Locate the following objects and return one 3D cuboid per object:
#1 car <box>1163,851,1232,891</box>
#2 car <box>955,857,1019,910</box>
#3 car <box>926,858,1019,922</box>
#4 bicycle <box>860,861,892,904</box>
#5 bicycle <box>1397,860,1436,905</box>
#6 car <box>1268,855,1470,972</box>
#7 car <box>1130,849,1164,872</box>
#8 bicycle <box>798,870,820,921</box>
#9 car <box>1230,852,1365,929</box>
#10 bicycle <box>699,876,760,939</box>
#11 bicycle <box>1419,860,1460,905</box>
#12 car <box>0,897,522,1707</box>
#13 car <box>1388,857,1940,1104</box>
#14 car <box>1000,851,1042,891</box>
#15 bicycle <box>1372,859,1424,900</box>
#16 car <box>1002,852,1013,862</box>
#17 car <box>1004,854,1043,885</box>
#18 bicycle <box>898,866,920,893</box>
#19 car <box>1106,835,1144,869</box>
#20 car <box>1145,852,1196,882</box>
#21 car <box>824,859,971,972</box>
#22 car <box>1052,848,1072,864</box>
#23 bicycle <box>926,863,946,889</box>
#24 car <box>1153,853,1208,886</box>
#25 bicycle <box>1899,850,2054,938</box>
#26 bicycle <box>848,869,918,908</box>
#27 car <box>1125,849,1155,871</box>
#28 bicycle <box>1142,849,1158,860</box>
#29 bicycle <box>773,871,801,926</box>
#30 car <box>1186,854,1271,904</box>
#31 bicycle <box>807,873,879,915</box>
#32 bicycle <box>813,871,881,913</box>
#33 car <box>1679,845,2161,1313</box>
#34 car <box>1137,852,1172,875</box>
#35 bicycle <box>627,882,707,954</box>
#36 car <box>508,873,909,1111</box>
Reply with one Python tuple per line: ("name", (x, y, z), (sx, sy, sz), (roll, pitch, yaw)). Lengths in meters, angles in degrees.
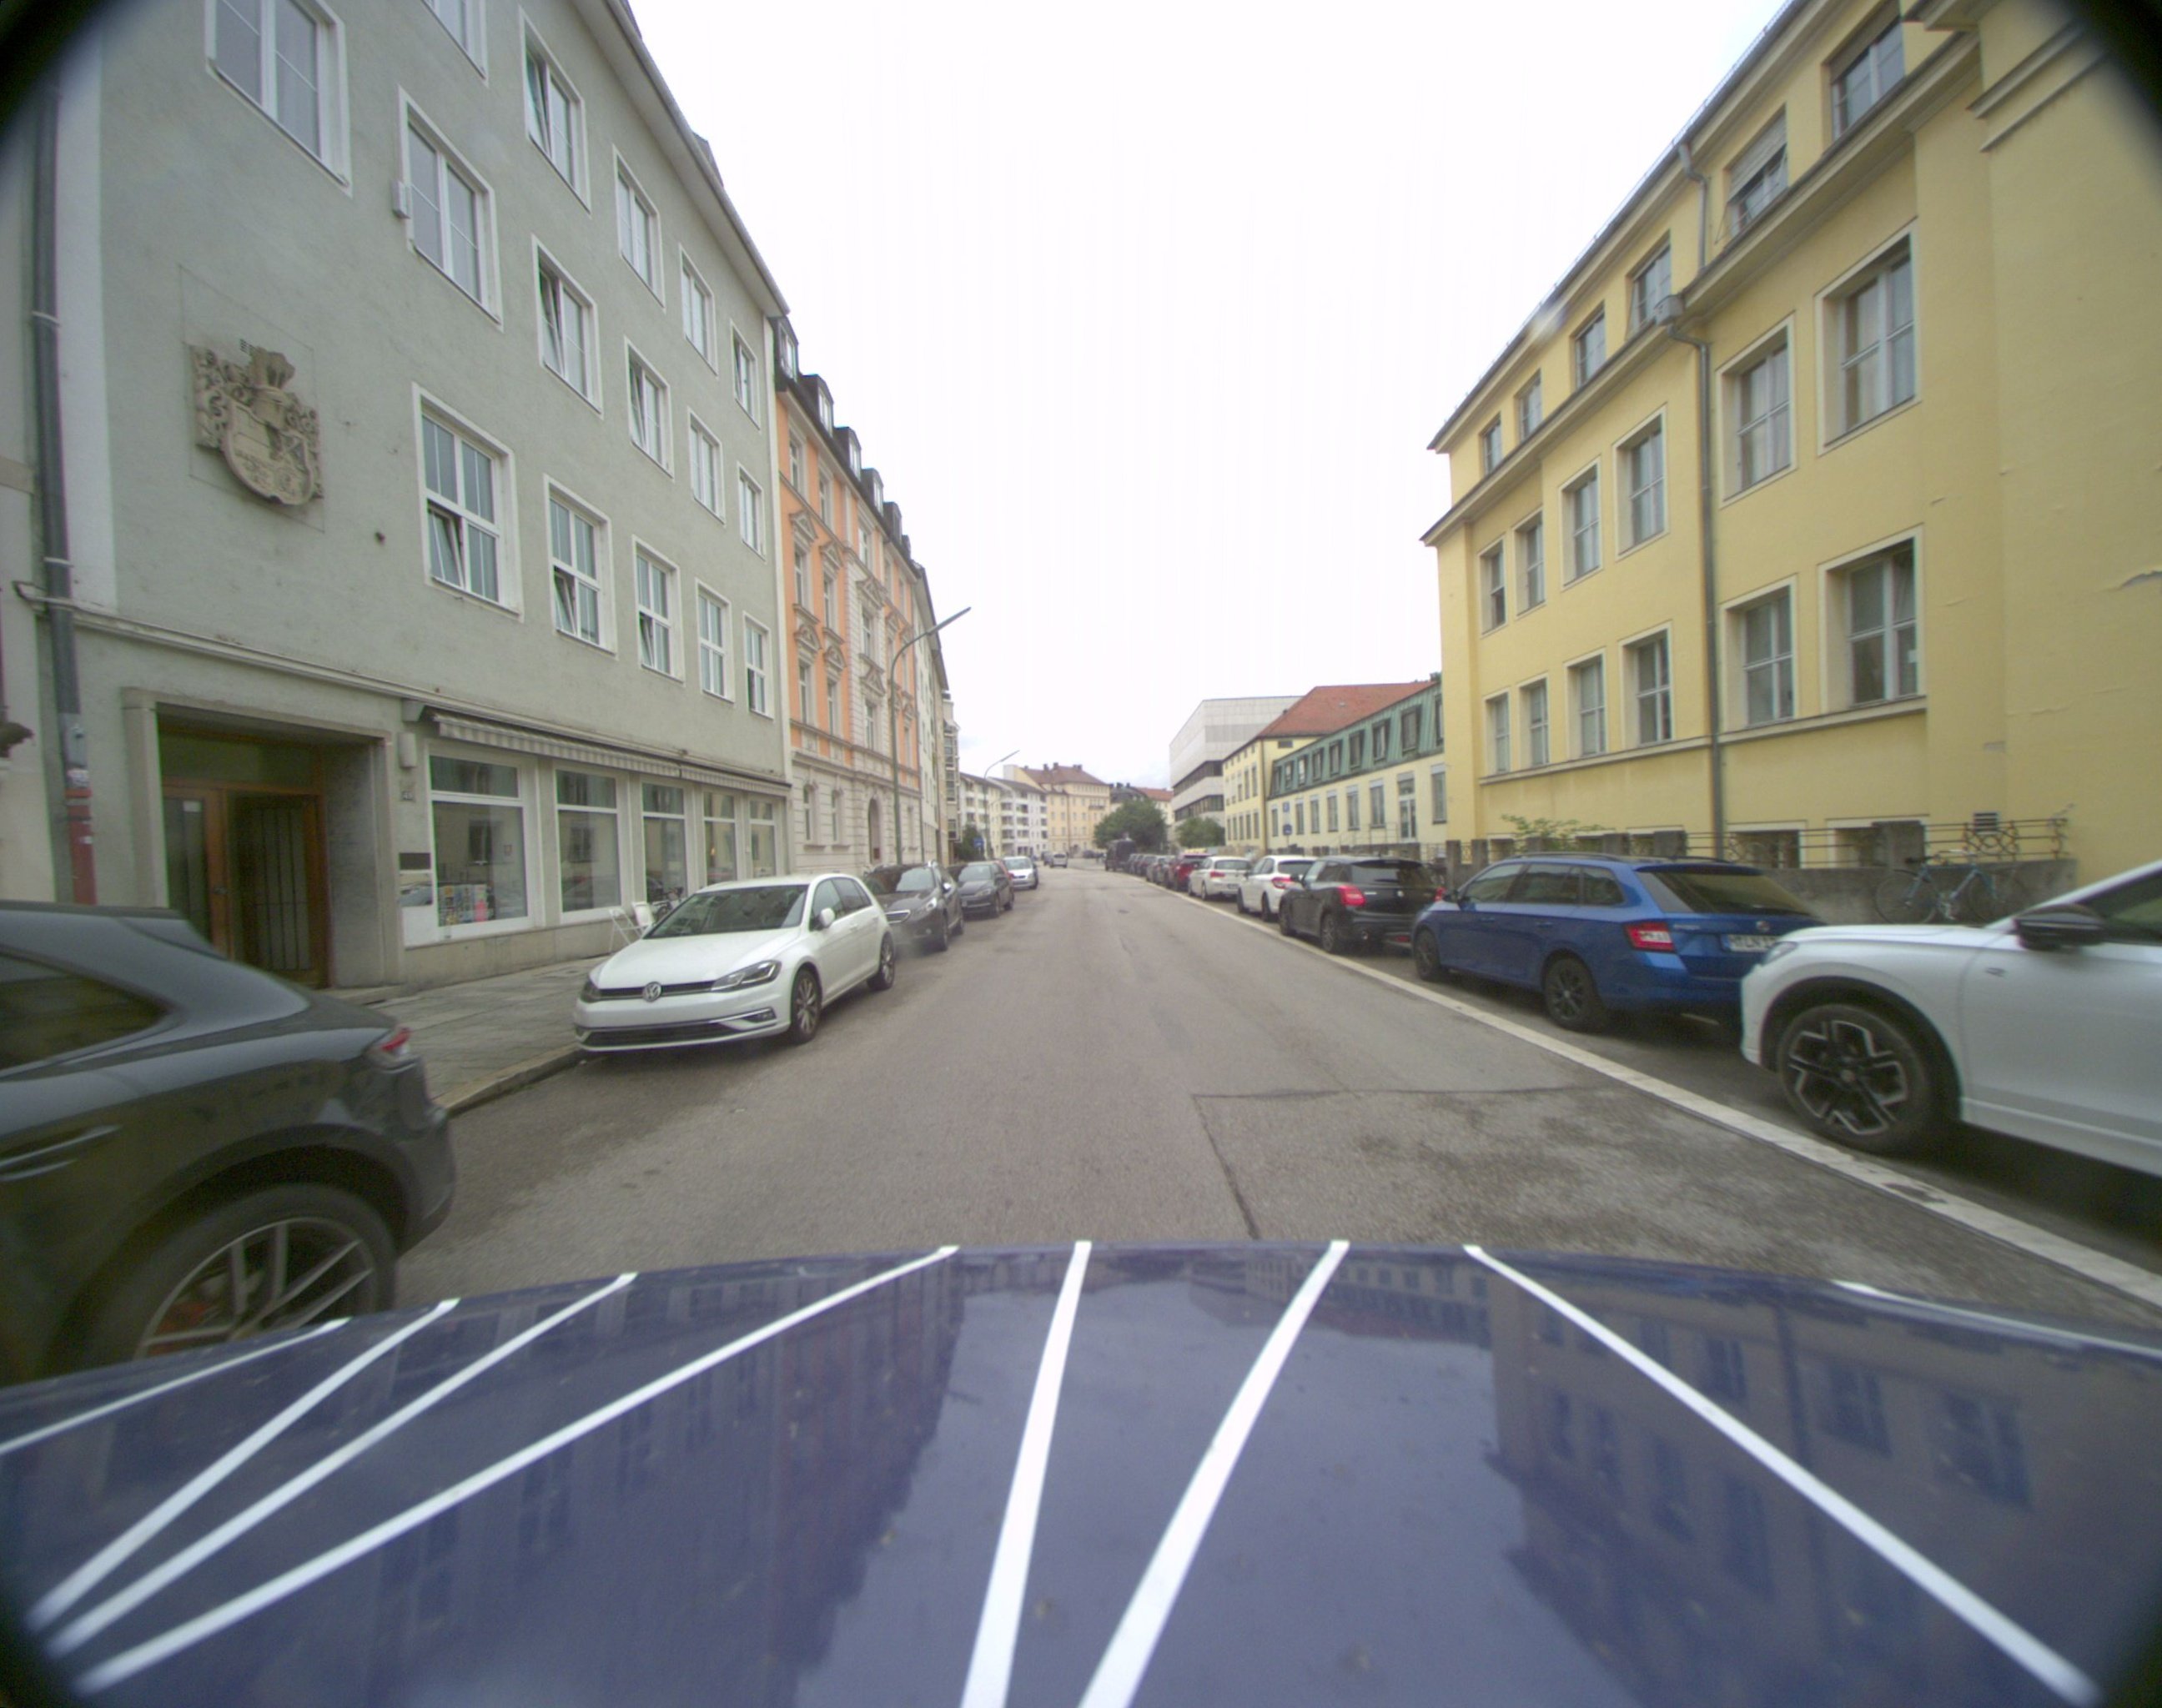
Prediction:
("car", (4.636, 0.625, 30.910), (1.963, 1.473, 4.527), (0, 1, -2))
("car", (-3.079, 0.914, 25.583), (1.692, 1.491, 4.146), (-4, 0, -3))
("car", (-2.806, 0.885, 20.541), (1.691, 1.394, 4.363), (-3, 1, 2))
("bicycle", (-6.978, 0.945, 25.985), (0.597, 1.377, 2.091), (-1, 0, -3))
("bicycle", (8.753, 0.730, 19.866), (0.538, 1.056, 1.641), (-2, 1, 10))
("car", (4.425, 0.818, 12.412), (1.703, 1.488, 4.148), (1, 1, 0))
("car", (4.866, 0.498, 56.165), (1.919, 1.578, 4.351), (1, 0, -3))
("bicycle", (-6.897, 1.036, 19.263), (0.248, 1.248, 0.916), (-2, 1, -4))
("car", (4.815, 0.728, 17.640), (1.789, 1.423, 4.651), (-3, 1, 0))
("bicycle", (-7.409, 1.104, 16.098), (0.396, 1.170, 1.815), (-3, 1, 0))
("bicycle", (9.285, 0.708, 19.732), (0.538, 1.056, 1.641), (-2, 1, 10))
("car", (-3.035, 1.002, 0.366), (1.844, 1.513, 4.708), (-4, 1, 2))
("car", (4.784, 0.857, 7.301), (1.708, 1.494, 4.493), (3, 1, -1))
("car", (-2.926, 0.762, 36.341), (1.686, 1.664, 3.801), (-4, 1, -7))
("bicycle", (8.958, 0.696, 21.561), (0.576, 1.056, 1.638), (-3, 1, -8))
("car", (-11.999, 0.446, 123.665), (1.756, 1.483, 3.997), (-3, 1, -7))
("car", (-3.094, 0.823, 41.632), (1.747, 1.486, 4.547), (-3, 1, 0))
("bicycle", (-7.159, 1.051, 31.673), (0.597, 1.018, 1.817), (-1, 0, -3))
("car", (3.784, -0.198, 67.183), (2.220, 2.837, 6.192), (0, 1, -8))
("car", (4.704, 0.646, 40.609), (2.020, 1.410, 4.614), (0, 1, -2))
("car", (-3.137, 0.964, 13.878), (1.711, 1.583, 4.360), (-4, 0, -3))
("car", (-2.301, 0.293, 91.927), (1.921, 1.837, 5.317), (-1, 0, -7))
("bicycle", (-6.653, 0.986, 34.915), (0.725, 1.106, 1.993), (-2, 1, -8))
("car", (4.586, 0.673, 35.570), (1.754, 1.397, 4.353), (0, 1, -3))
("bicycle", (11.455, 0.492, 9.728), (1.662, 1.044, 0.425), (-2, 1, -6))
("bicycle", (-6.213, 1.063, 23.951), (2.096, 1.132, 0.583), (-2, 1, -43))
("car", (4.680, 0.453, 60.668), (1.885, 1.627, 4.348), (1, 0, -2))
("bicycle", (8.072, 0.078, 88.929), (1.816, 1.145, 0.519), (-3, 1, -2))
("bicycle", (-7.094, 1.043, 18.354), (0.248, 1.248, 1.233), (-2, 1, -4))
("car", (4.755, 0.750, 25.222), (1.798, 1.421, 4.663), (1, 1, -1))
("bicycle", (-6.636, 1.102, 21.249), (1.851, 1.061, 0.514), (-2, 1, -42))
("bicycle", (-6.697, 1.081, 21.846), (0.620, 1.083, 1.818), (-1, 1, 35))
("car", (4.690, 0.798, 2.333), (1.750, 1.624, 4.854), (-1, 1, -2))
("car", (4.924, 0.577, 51.403), (1.918, 1.473, 4.531), (1, 0, 1))
("bicycle", (-7.639, 1.136, 14.106), (0.385, 1.151, 1.949), (-2, 1, 0))
("car", (-3.163, 1.042, 7.684), (1.677, 1.421, 4.529), (-4, 1, 1))
